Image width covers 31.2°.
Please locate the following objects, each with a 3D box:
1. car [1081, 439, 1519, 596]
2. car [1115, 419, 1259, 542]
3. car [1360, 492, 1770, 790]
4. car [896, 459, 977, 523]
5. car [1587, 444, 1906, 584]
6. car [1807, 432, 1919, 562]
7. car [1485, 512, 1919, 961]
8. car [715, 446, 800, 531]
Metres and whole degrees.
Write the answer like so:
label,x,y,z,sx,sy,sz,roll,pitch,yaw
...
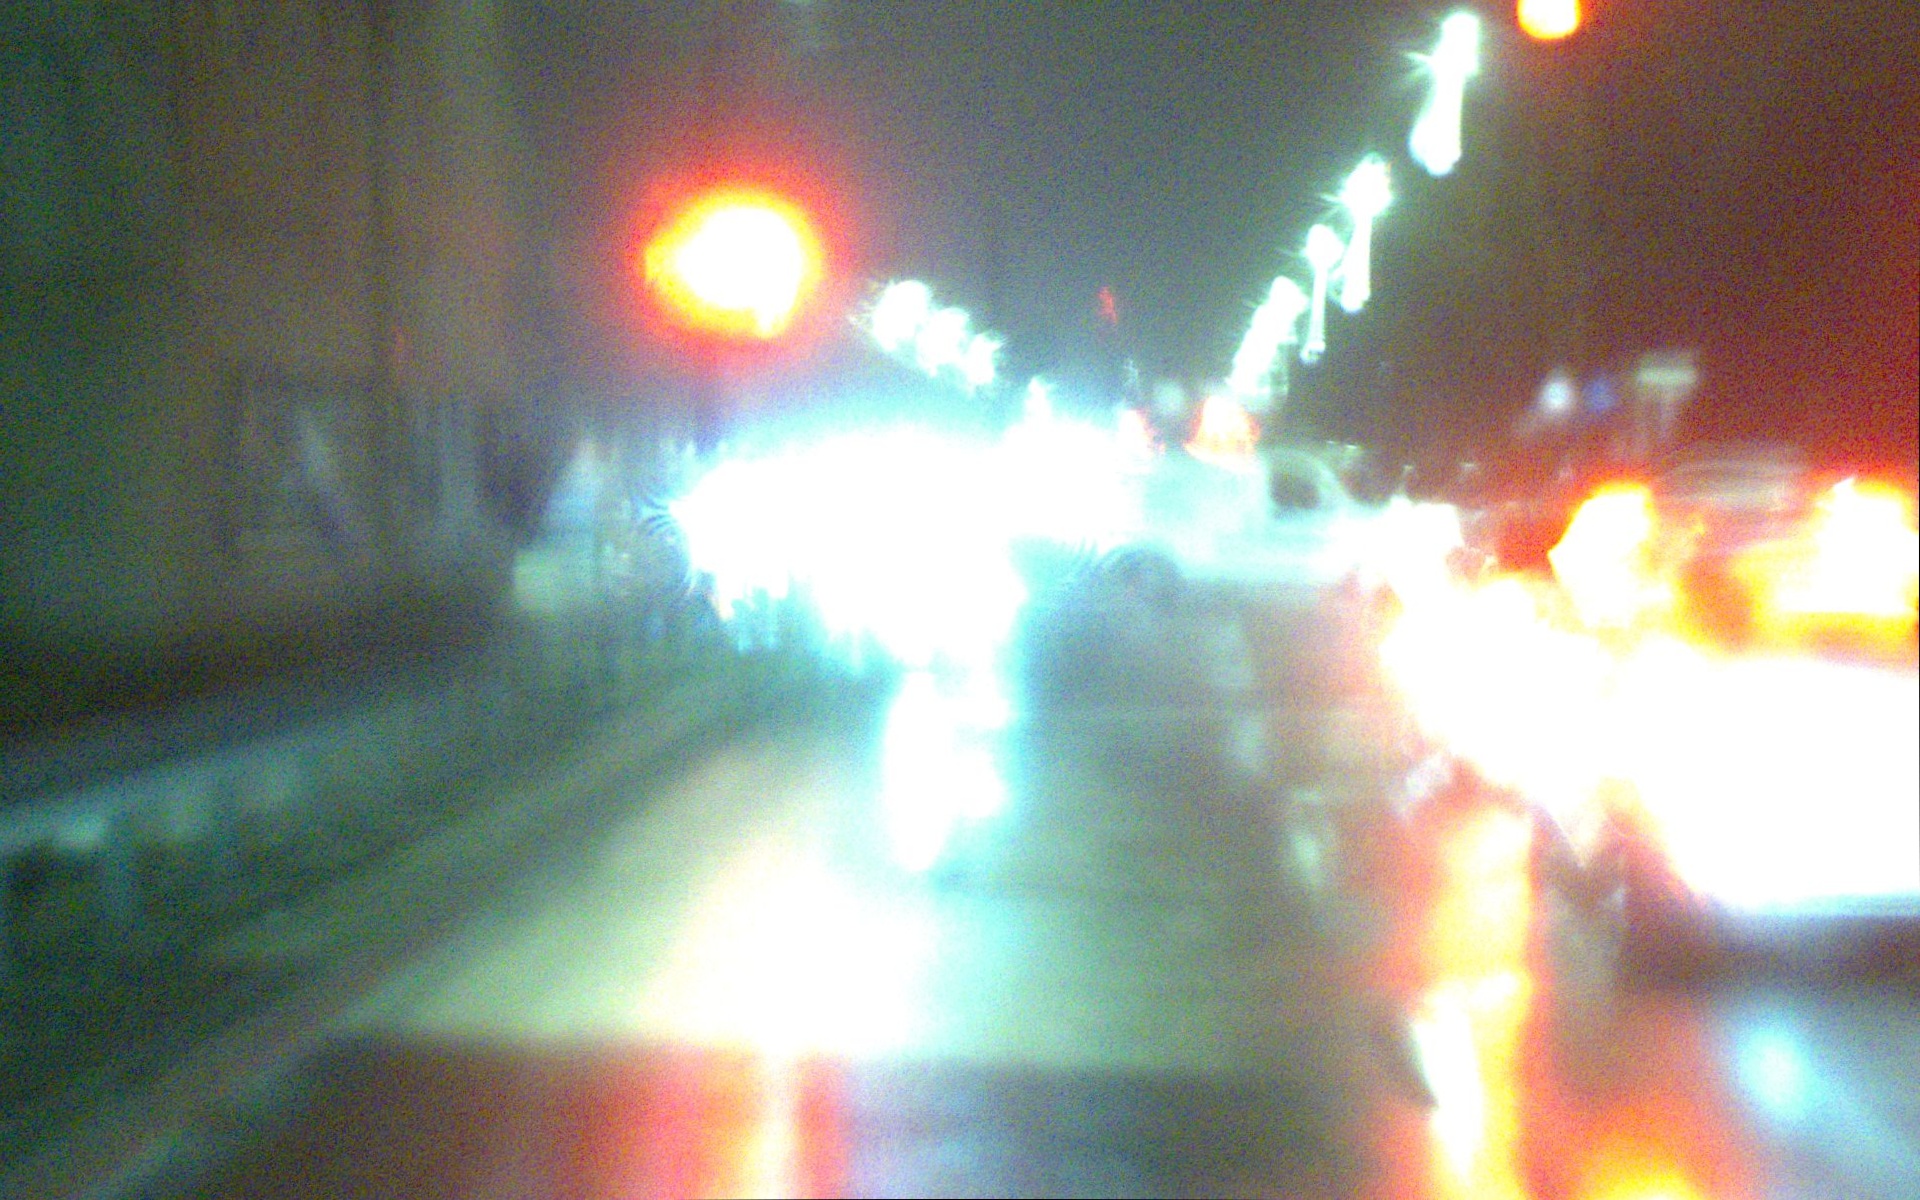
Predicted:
label,x,y,z,sx,sy,sz,roll,pitch,yaw
car,3.981,-0.984,40.587,4.831,1.763,1.834,1,2,31
car,4.131,-2.180,63.401,2.441,2.186,5.079,0,1,1
car,3.276,0.143,19.363,1.720,1.441,4.383,-2,2,3
car,-0.640,-2.803,88.955,1.901,1.612,4.515,0,1,-3
car,11.704,-1.285,51.176,4.298,2.007,2.042,1,2,25
car,15.620,-1.604,53.834,4.298,2.007,2.043,1,2,23
car,3.100,0.393,13.253,1.720,1.441,4.162,0,2,3
car,-4.209,-2.322,71.770,1.717,1.728,3.765,0,1,-3
